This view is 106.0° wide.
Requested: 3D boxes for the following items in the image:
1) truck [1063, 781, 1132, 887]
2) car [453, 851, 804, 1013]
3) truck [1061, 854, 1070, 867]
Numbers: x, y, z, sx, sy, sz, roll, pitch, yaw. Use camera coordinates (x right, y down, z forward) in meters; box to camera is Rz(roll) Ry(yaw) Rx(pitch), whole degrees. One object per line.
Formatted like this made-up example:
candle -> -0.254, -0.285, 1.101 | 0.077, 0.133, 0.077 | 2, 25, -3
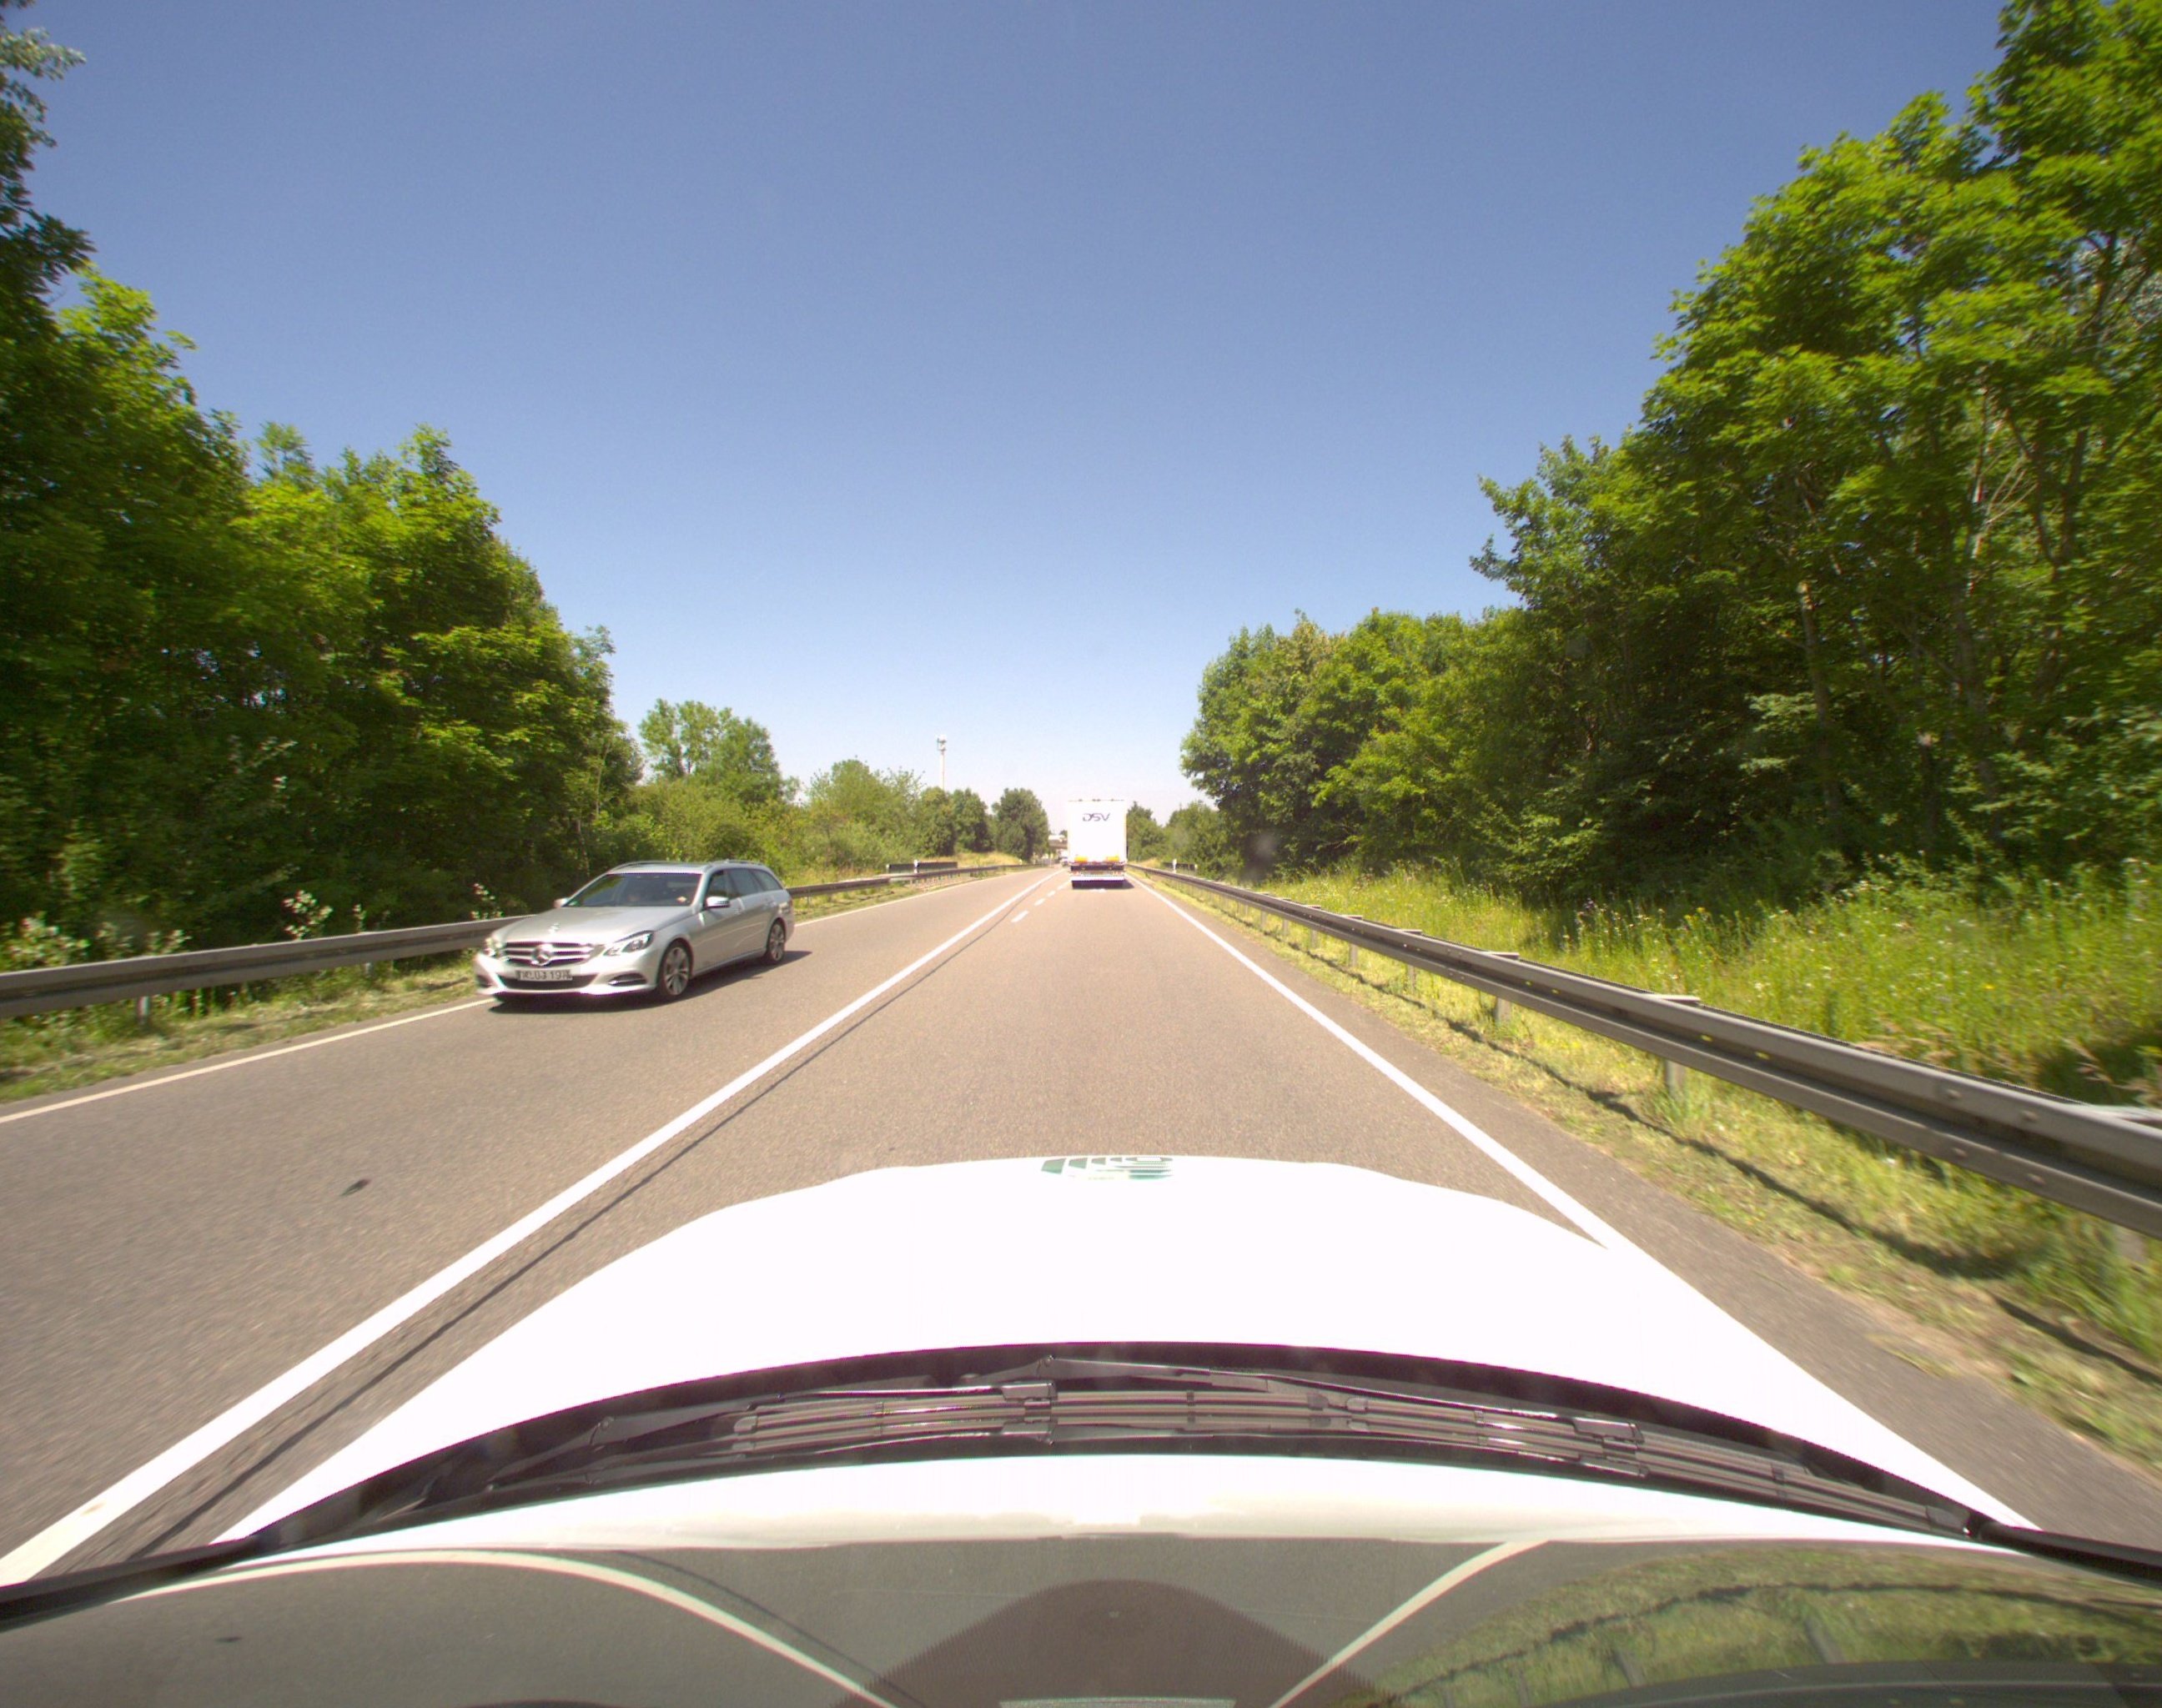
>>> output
truck -> 0.854, -0.794, 40.069 | 2.939, 4.569, 9.864 | -1, -1, 1
car -> -5.167, 0.765, 10.168 | 1.812, 1.546, 4.527 | -1, 0, 0
truck -> -4.561, 1.904, 245.392 | 2.345, 3.750, 12.623 | -1, 0, 0
